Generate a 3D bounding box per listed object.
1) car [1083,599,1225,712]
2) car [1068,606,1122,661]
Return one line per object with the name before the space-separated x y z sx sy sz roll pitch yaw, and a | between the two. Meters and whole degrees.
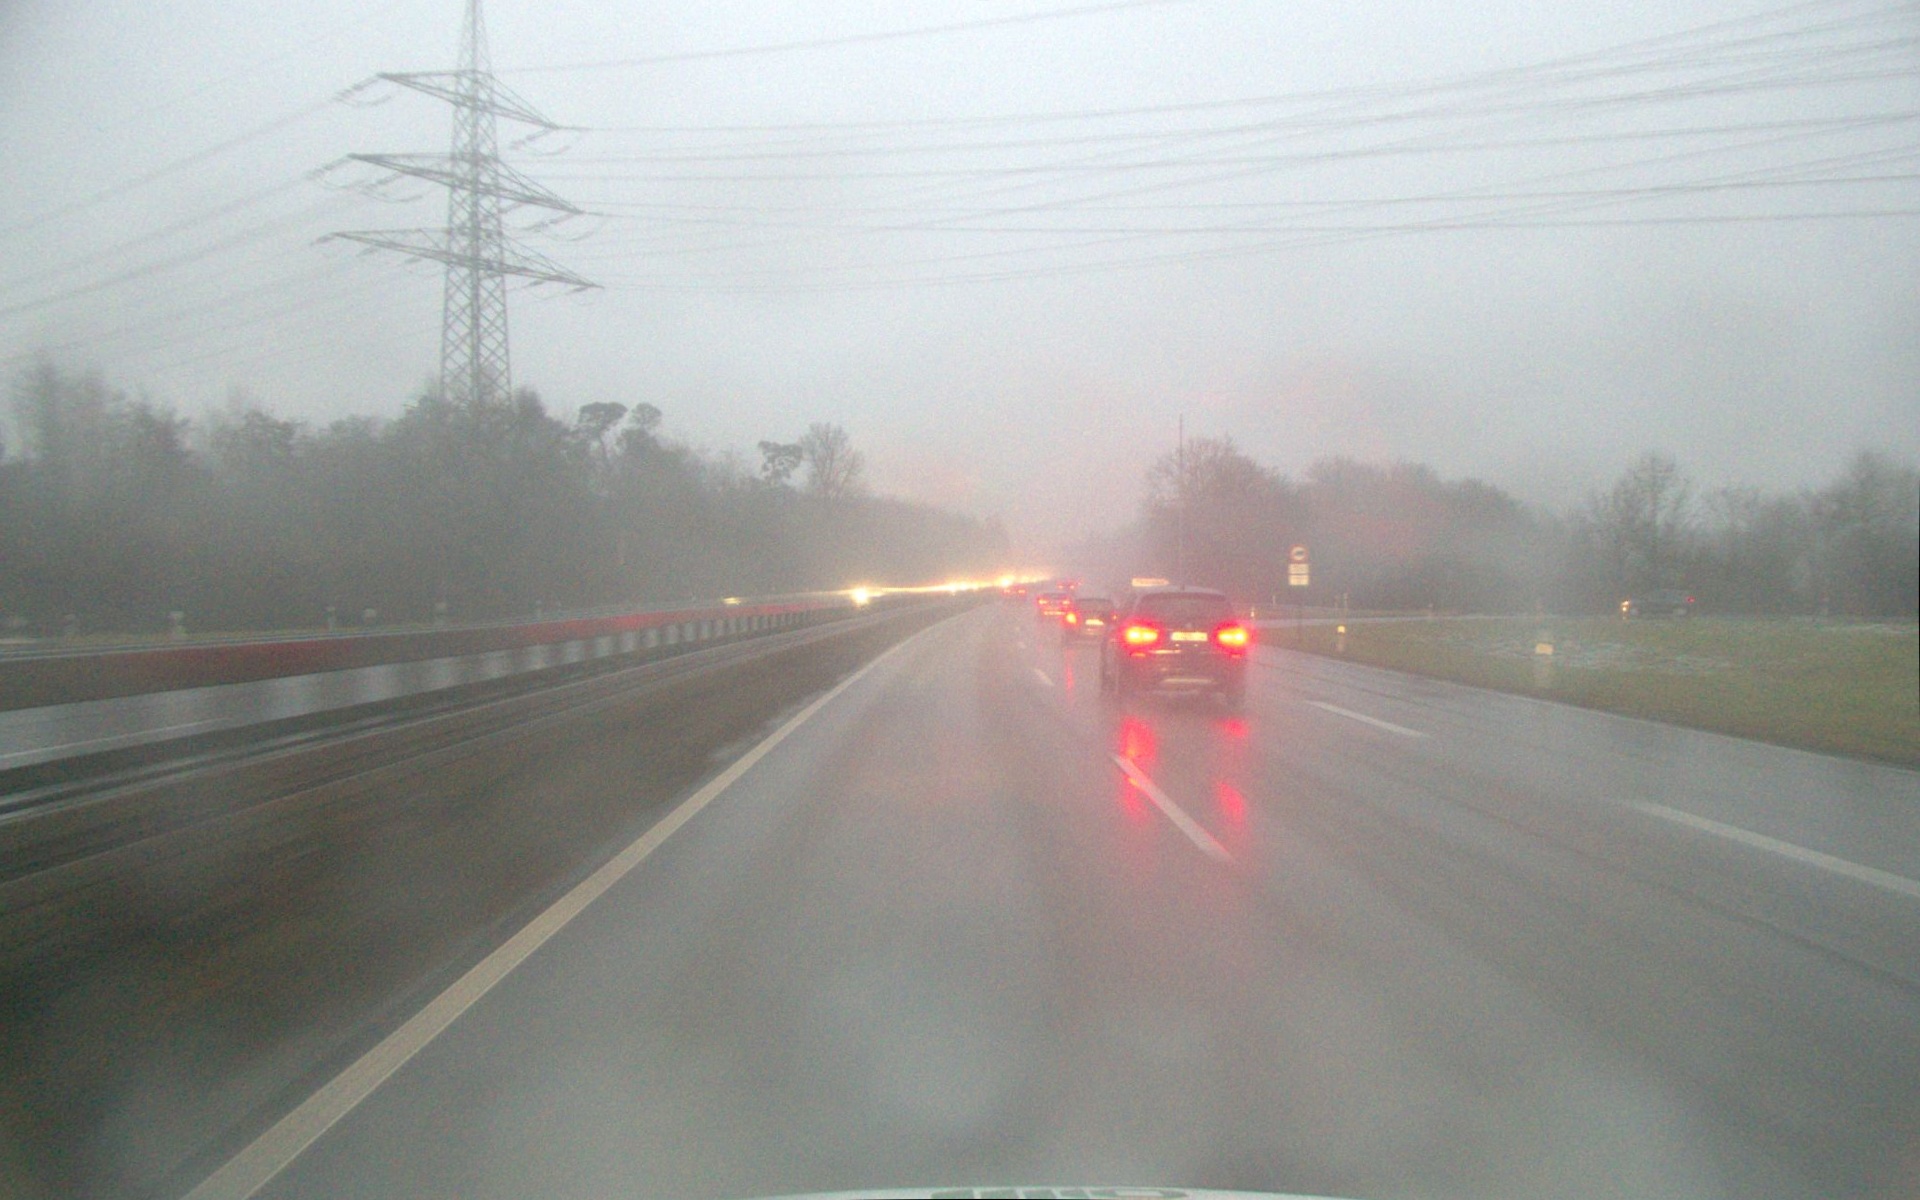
car | 2.878 0.780 25.246 1.644 1.535 3.808 0 1 -1
car | 4.071 0.984 50.075 1.561 1.517 3.596 0 1 4
